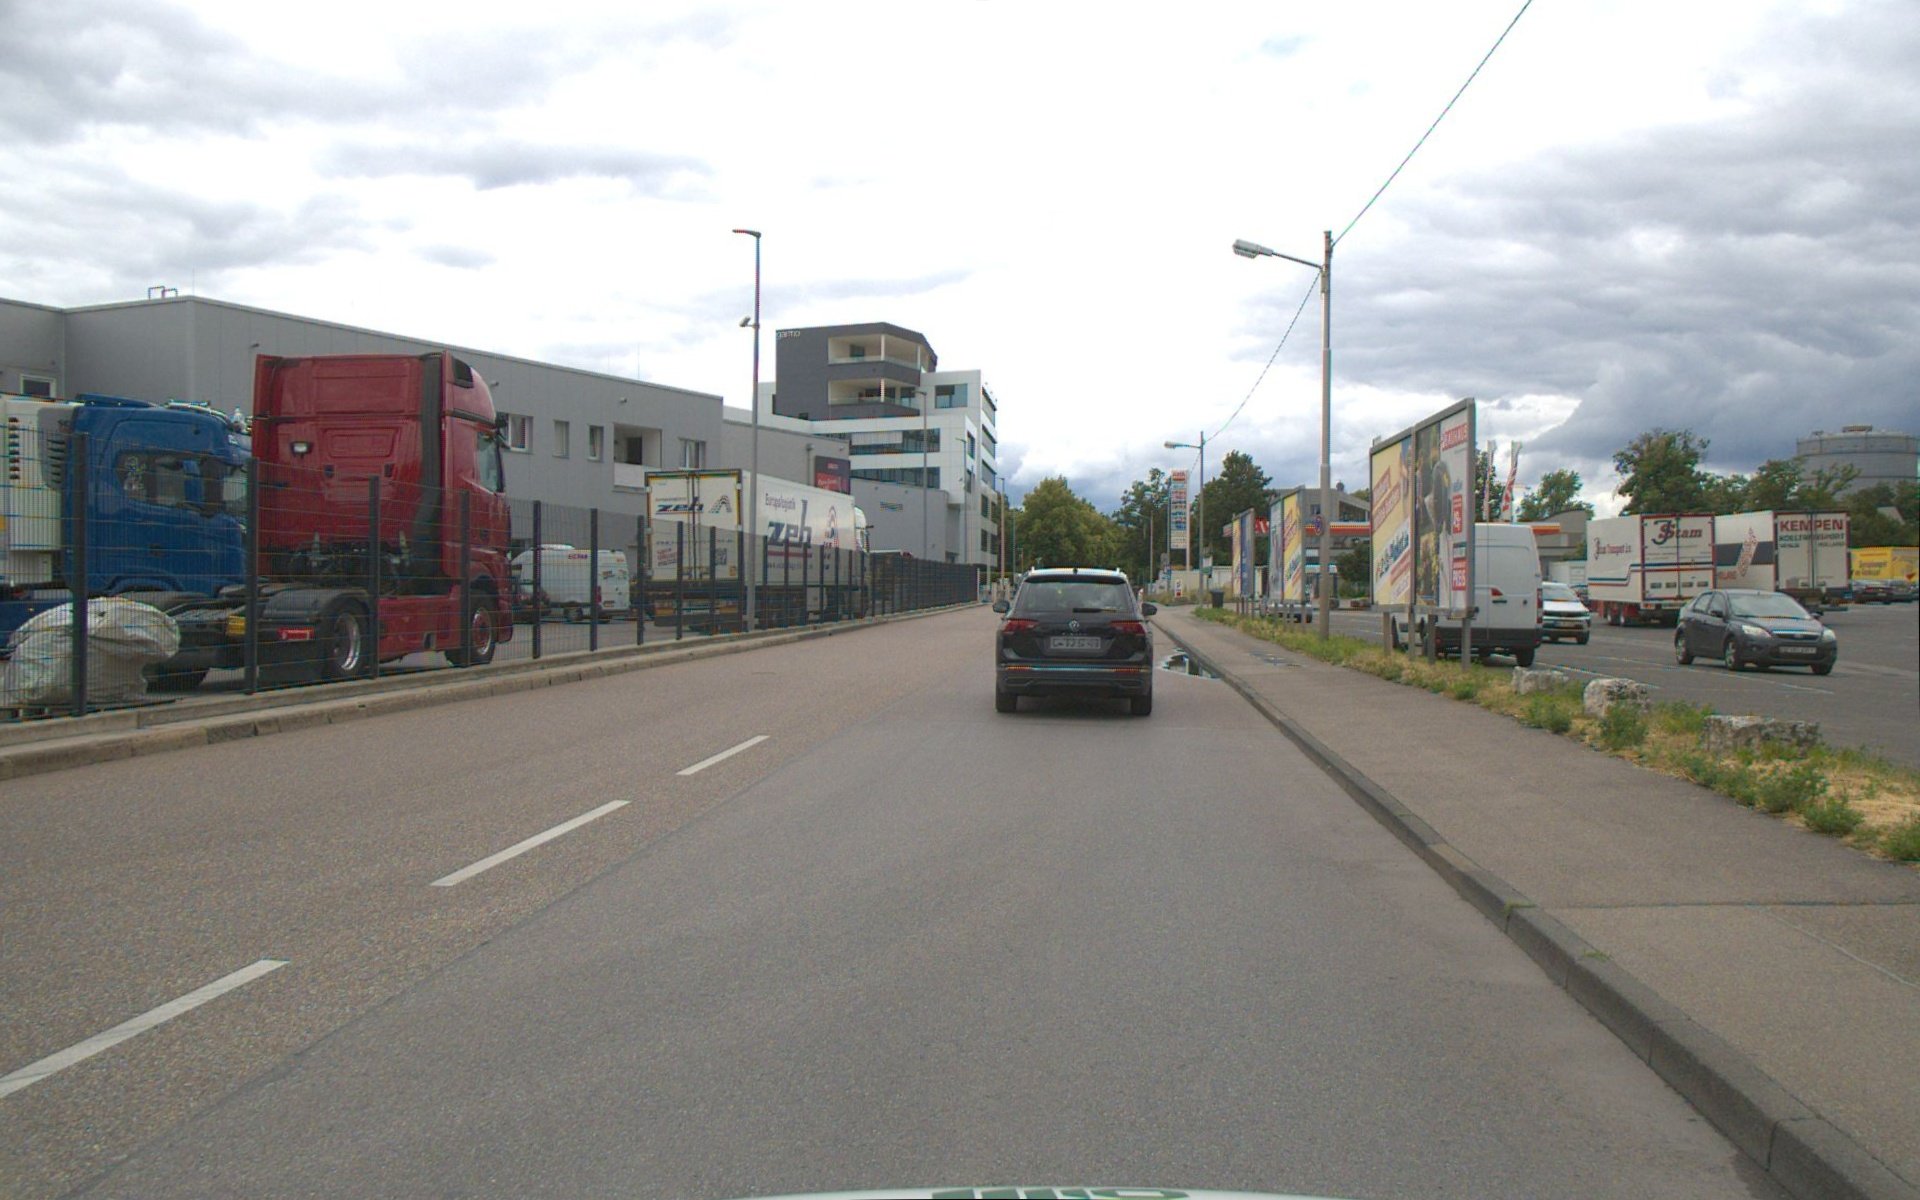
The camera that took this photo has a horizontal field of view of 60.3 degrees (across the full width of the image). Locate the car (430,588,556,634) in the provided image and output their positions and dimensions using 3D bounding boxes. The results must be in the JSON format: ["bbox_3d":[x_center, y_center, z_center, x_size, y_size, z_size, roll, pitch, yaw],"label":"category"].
[{"bbox_3d":[-16.391,0.384,58.019,3.907,1.579,1.999,0,0,25],"label":"car"}]

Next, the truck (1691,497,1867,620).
[{"bbox_3d":[29.934,-1.446,60.930,3.237,4.218,8.520,0,0,7],"label":"truck"}]

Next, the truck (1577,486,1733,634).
[{"bbox_3d":[26.001,-1.415,62.370,3.237,5.182,8.520,0,0,7],"label":"truck"}]

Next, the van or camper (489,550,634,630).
[{"bbox_3d":[-14.485,-0.364,60.161,4.872,2.811,2.103,0,0,24],"label":"van or camper"}]

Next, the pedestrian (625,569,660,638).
[{"bbox_3d":[-8.585,0.091,44.744,0.683,1.861,0.825,0,0,9],"label":"pedestrian"}]

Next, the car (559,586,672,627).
[{"bbox_3d":[-13.451,0.247,64.544,3.907,1.579,1.999,0,0,25],"label":"car"}]

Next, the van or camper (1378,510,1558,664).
[{"bbox_3d":[9.688,-0.223,32.100,2.208,2.694,6.118,0,0,6],"label":"van or camper"}]

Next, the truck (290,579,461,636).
[{"bbox_3d":[-18.000,0.222,50.918,4.815,1.681,2.226,0,0,25],"label":"truck"}]

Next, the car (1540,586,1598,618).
[{"bbox_3d":[34.129,0.092,92.800,1.952,1.736,4.190,0,0,3],"label":"car"}]

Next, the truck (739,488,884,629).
[{"bbox_3d":[-4.825,-1.285,55.145,3.062,4.188,6.947,-4,-1,8],"label":"truck"}]

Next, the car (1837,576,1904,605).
[{"bbox_3d":[52.738,-0.536,95.893,1.951,1.646,4.003,0,0,6],"label":"car"}]

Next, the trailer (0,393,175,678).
[{"bbox_3d":[-20.069,-0.978,28.126,13.678,4.257,3.038,0,0,17],"label":"trailer"}]

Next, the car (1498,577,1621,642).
[{"bbox_3d":[15.786,0.245,43.794,1.850,1.640,4.430,0,0,3],"label":"car"}]

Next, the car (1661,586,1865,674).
[{"bbox_3d":[14.998,0.517,31.183,1.850,1.470,4.430,2,0,3],"label":"car"}]

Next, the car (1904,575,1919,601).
[{"bbox_3d":[63.114,-0.770,107.122,1.951,1.646,4.003,0,0,6],"label":"car"}]

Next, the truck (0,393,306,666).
[{"bbox_3d":[-13.675,-1.050,26.365,5.494,4.091,2.925,0,0,-9],"label":"truck"}]

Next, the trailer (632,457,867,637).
[{"bbox_3d":[-5.724,-1.321,48.656,3.067,4.335,14.030,-4,-1,8],"label":"trailer"}]

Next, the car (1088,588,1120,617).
[{"bbox_3d":[9.119,0.128,104.663,1.951,1.780,4.003,0,1,4],"label":"car"}]

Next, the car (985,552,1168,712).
[{"bbox_3d":[1.395,0.354,19.937,1.952,1.713,4.373,0,0,4],"label":"car"}]

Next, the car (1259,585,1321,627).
[{"bbox_3d":[12.565,0.210,63.193,1.849,1.470,4.431,2,0,6],"label":"car"}]

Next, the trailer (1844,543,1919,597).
[{"bbox_3d":[70.860,-2.221,121.884,3.521,3.931,18.042,0,1,6],"label":"trailer"}]

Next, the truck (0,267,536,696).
[{"bbox_3d":[-7.609,-1.134,19.361,2.860,4.091,6.946,0,0,6],"label":"truck"}]

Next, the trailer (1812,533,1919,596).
[{"bbox_3d":[66.106,-2.530,119.010,2.809,4.223,14.934,0,1,4],"label":"trailer"}]

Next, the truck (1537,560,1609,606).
[{"bbox_3d":[43.773,-1.235,118.367,3.107,3.200,7.515,0,1,6],"label":"truck"}]
